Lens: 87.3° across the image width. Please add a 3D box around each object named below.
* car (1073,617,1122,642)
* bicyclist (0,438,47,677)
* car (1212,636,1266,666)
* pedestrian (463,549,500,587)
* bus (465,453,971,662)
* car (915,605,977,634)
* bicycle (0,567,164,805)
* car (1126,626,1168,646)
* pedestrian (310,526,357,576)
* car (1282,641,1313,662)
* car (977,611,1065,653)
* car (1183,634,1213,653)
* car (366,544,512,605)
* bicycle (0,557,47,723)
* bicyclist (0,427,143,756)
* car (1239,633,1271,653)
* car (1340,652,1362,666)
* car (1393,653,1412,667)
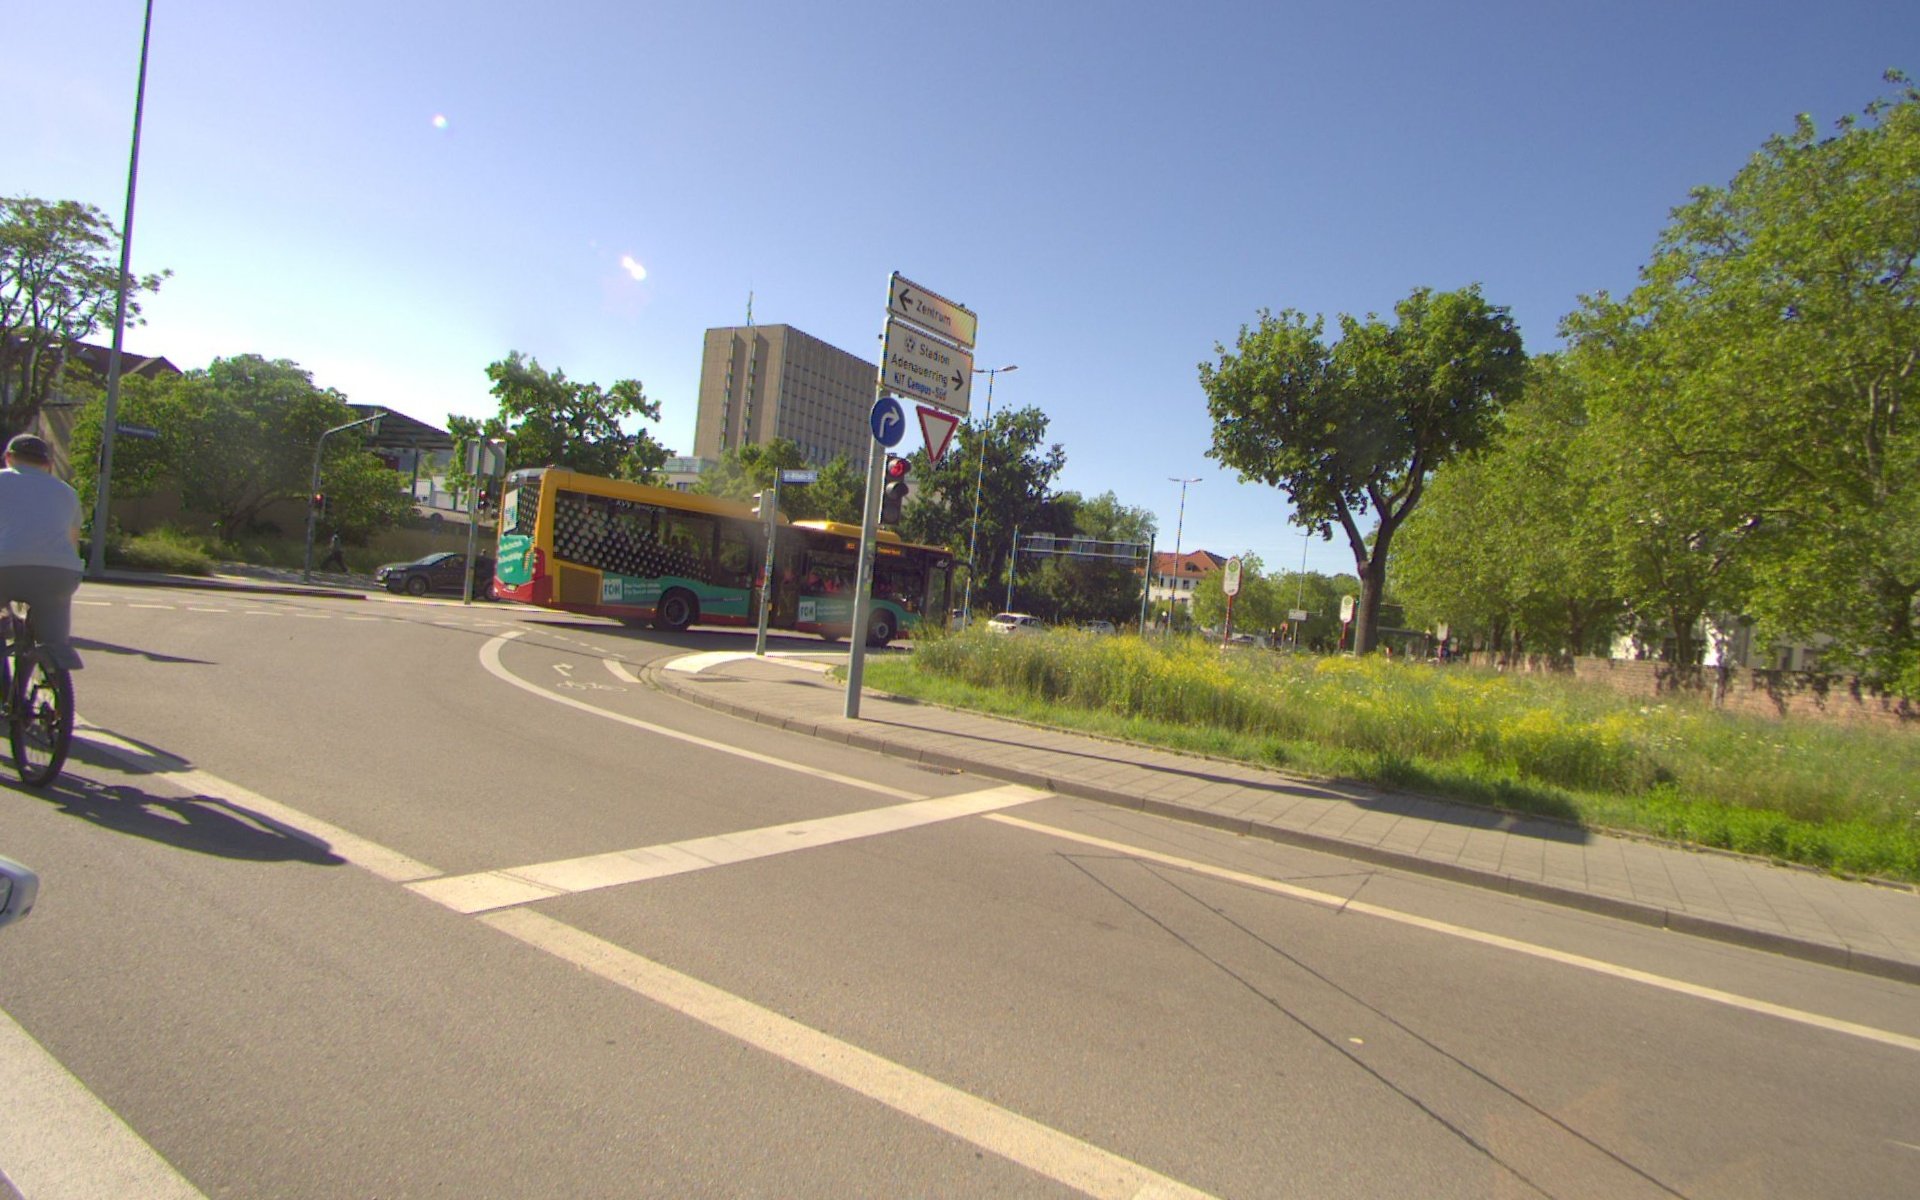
[{"bbox_3d":[11.137,2.406,81.206,1.968,1.625,4.505,7,0,34],"label":"car"},{"bbox_3d":[-7.004,-0.349,6.894,1.063,1.601,0.675,7,-1,31],"label":"bicyclist"},{"bbox_3d":[16.820,3.080,60.591,1.863,1.419,3.847,3,-3,35],"label":"car"},{"bbox_3d":[-21.349,-1.442,44.888,0.917,1.540,1.083,7,1,41],"label":"pedestrian"},{"bbox_3d":[-5.328,-0.704,25.529,12.388,3.614,3.208,7,0,-45],"label":"bus"},{"bbox_3d":[-0.849,1.252,63.310,1.784,1.509,3.954,4,-2,37],"label":"car"},{"bbox_3d":[-5.335,0.398,5.593,1.871,1.064,0.748,6,1,31],"label":"bicycle"},{"bbox_3d":[15.293,2.966,82.057,1.968,1.378,3.998,5,-1,33],"label":"car"},{"bbox_3d":[-25.600,-1.995,41.081,0.953,1.879,1.294,7,1,43],"label":"pedestrian"},{"bbox_3d":[38.999,5.960,116.203,1.968,2.062,4.834,7,0,34],"label":"car"},{"bbox_3d":[2.594,1.343,42.003,1.732,1.390,3.988,7,0,35],"label":"car"},{"bbox_3d":[23.726,4.325,100.137,1.888,1.625,4.080,7,0,26],"label":"car"},{"bbox_3d":[-17.762,-0.857,34.432,1.809,1.590,3.982,7,0,40],"label":"car"},{"bbox_3d":[-7.152,0.181,6.936,1.813,1.063,0.672,6,-1,31],"label":"bicycle"},{"bbox_3d":[-5.224,-0.064,5.550,0.851,1.695,0.741,7,1,30],"label":"bicyclist"},{"bbox_3d":[33.436,4.874,113.972,1.968,1.966,4.834,7,0,35],"label":"car"},{"bbox_3d":[53.331,8.026,137.171,1.892,1.625,4.072,7,0,35],"label":"car"},{"bbox_3d":[55.559,7.493,126.269,1.712,1.535,3.994,7,0,29],"label":"car"}]
